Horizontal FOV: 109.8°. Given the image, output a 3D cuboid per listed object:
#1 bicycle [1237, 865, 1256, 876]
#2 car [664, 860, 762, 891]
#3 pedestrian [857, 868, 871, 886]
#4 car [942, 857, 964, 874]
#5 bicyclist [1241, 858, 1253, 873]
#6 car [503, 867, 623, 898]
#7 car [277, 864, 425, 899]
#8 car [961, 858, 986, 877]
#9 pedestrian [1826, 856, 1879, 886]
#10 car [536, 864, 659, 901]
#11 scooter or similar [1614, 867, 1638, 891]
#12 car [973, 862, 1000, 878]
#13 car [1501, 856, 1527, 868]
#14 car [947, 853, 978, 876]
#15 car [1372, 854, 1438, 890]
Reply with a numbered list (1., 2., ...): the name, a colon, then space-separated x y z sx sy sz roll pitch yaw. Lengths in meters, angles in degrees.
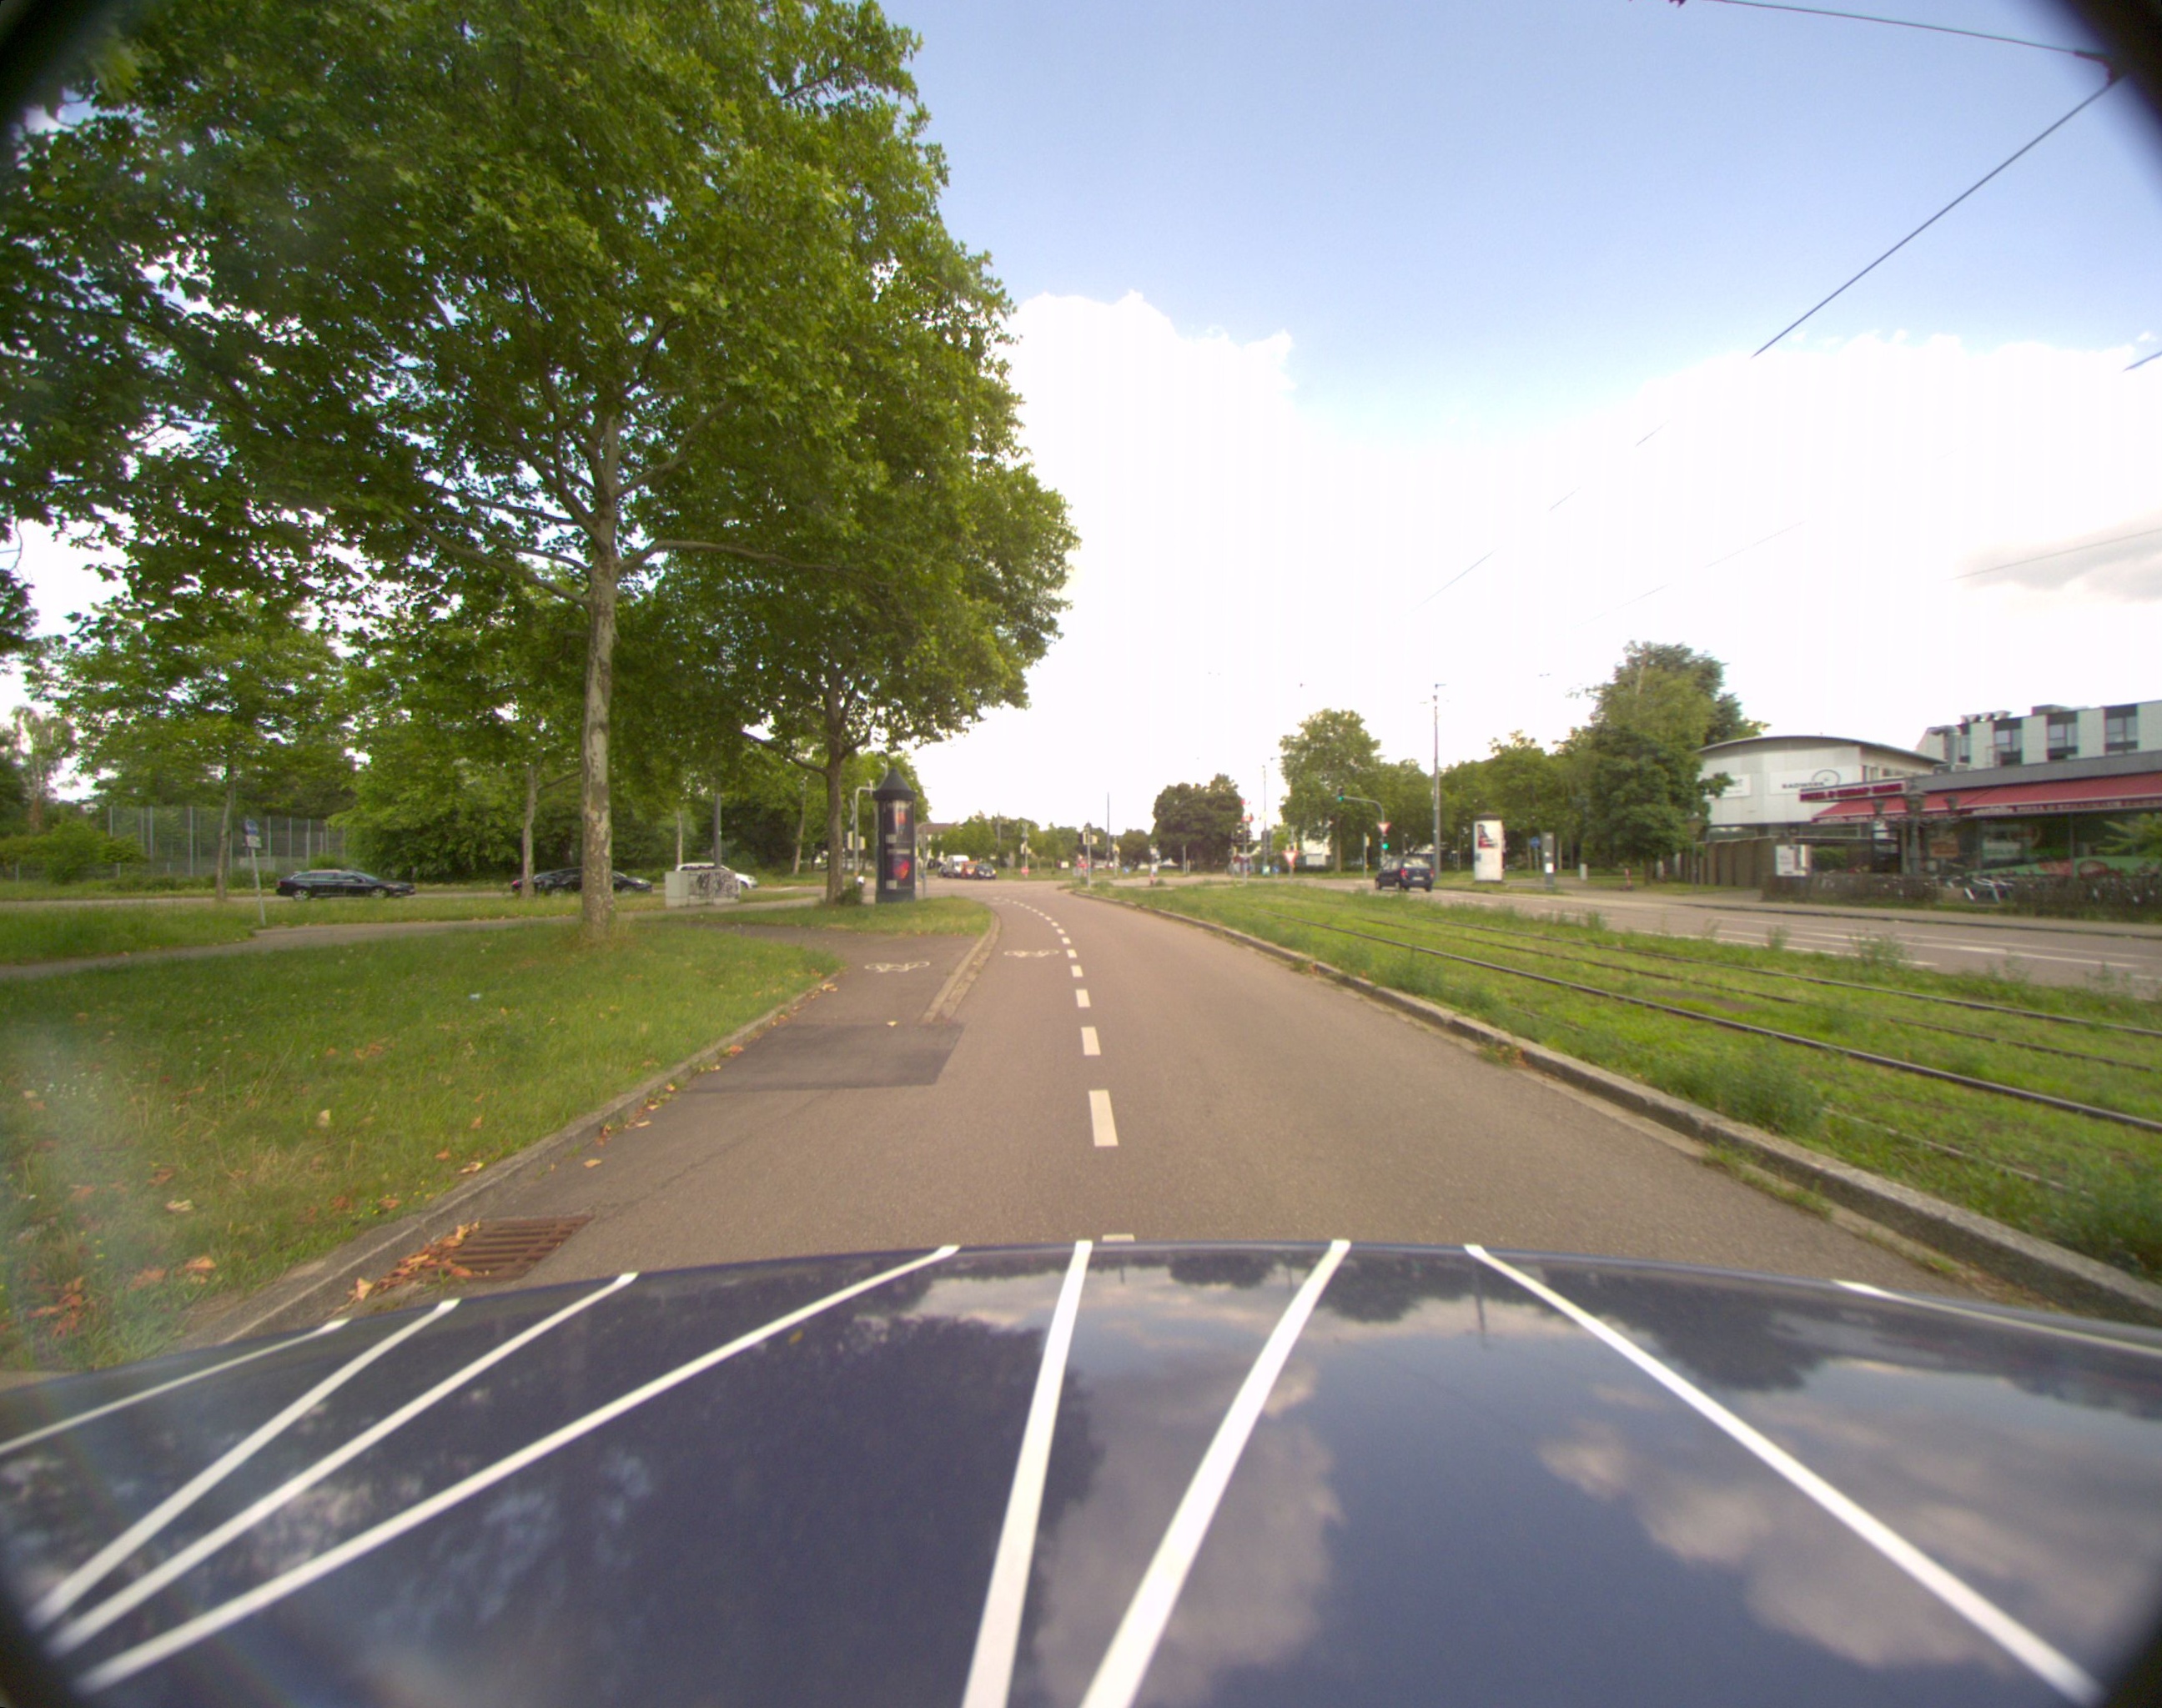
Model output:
1. bicycle: 16.337 1.623 75.033 0.805 1.053 2.066 -1 -2 -23
2. car: -20.304 1.145 42.142 4.692 1.601 1.996 0 1 -21
3. pedestrian: -13.074 1.386 45.792 0.723 1.028 0.900 -1 0 -19
4. car: -15.544 1.386 92.092 1.798 1.924 4.361 -1 0 -20
5. bicyclist: 16.355 1.096 74.963 0.805 1.461 0.831 -1 -1 -23
6. car: -26.620 1.441 39.254 4.754 1.461 1.996 0 1 -21
7. car: -34.924 1.281 36.510 4.692 1.504 1.996 0 1 -21
8. car: -11.411 1.411 80.549 1.798 1.924 4.361 -1 0 -20
9. pedestrian: 30.762 0.673 30.298 1.156 1.139 0.932 0 0 1
10. car: -23.336 1.343 36.887 4.691 1.601 1.996 0 1 -21
11. scooter or similar: 25.129 1.144 35.041 0.427 1.027 1.224 -1 0 10
12. car: -9.316 1.532 74.830 1.798 1.530 3.994 -1 0 -19
13. car: 53.665 0.972 94.164 3.865 1.514 1.694 0 0 -43
14. car: -13.559 1.173 86.721 2.242 2.492 5.716 -1 0 -21
15. car: 15.496 0.836 36.545 1.783 1.617 3.496 0 0 2
